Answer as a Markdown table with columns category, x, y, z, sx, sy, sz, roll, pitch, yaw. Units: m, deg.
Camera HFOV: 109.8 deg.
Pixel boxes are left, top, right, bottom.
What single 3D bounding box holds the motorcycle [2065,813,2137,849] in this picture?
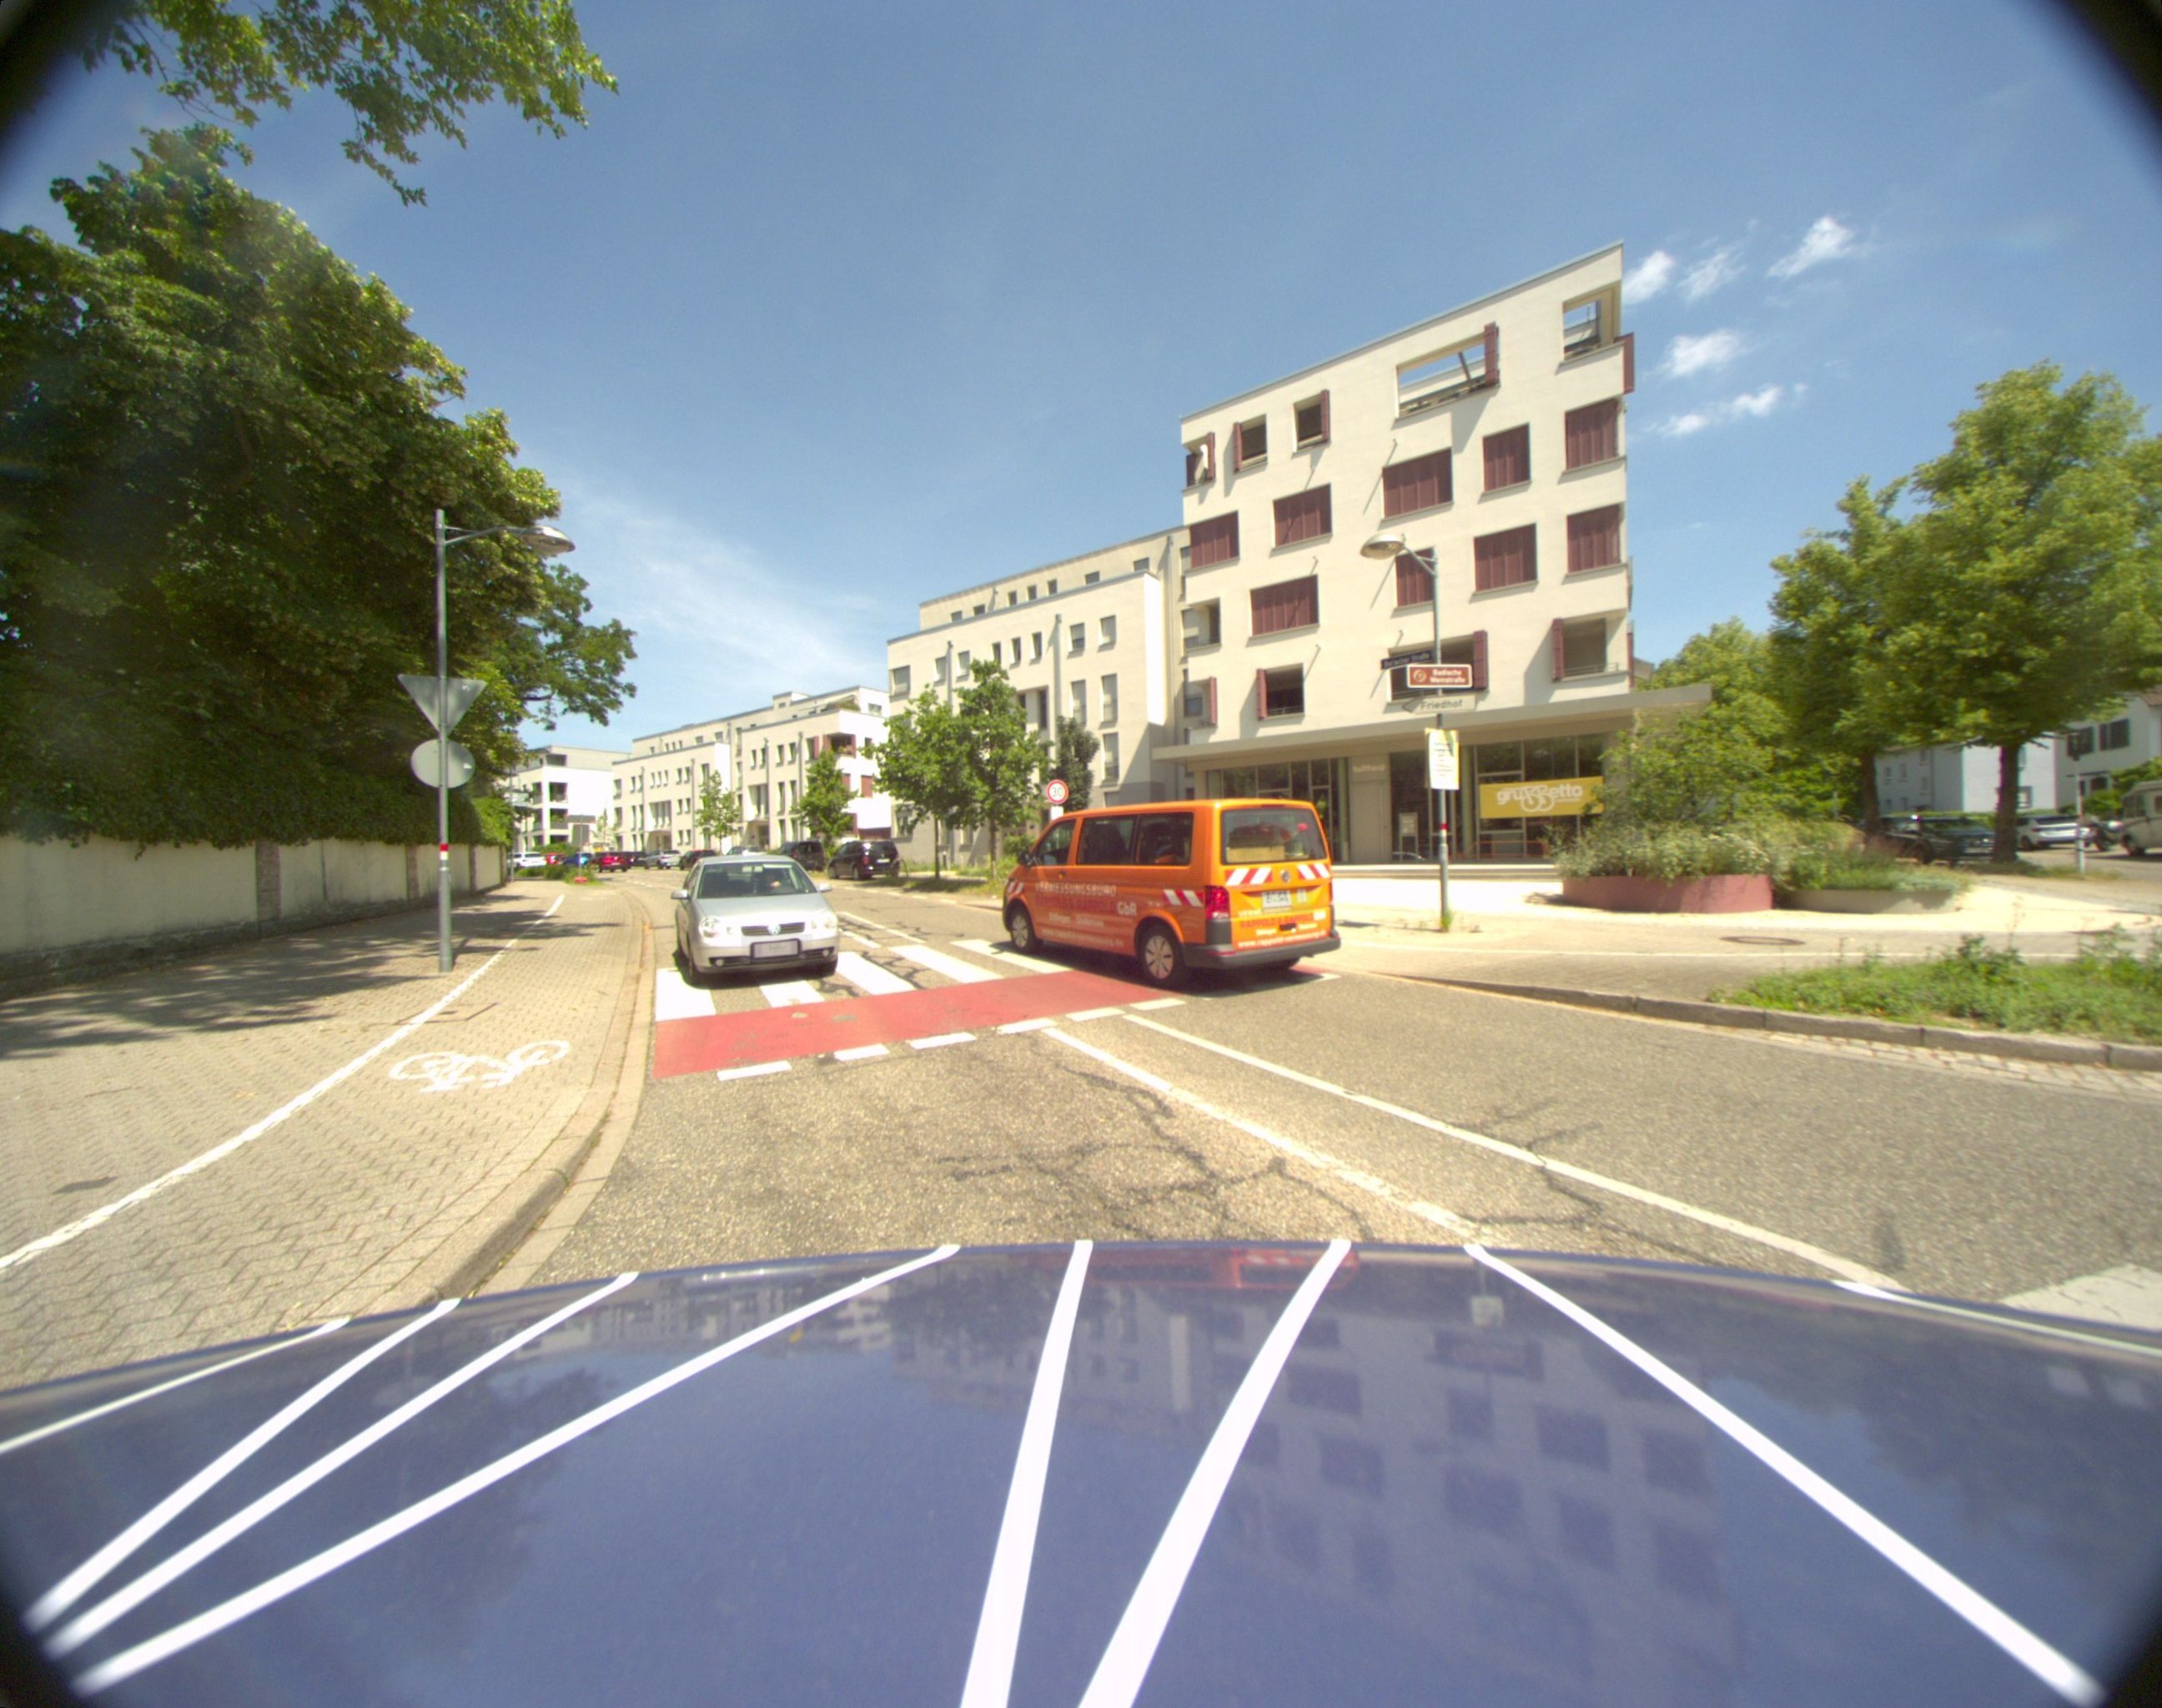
| category | x | y | z | sx | sy | sz | roll | pitch | yaw |
| --- | --- | --- | --- | --- | --- | --- | --- | --- | --- |
| motorcycle | 38.675 | -0.877 | 28.812 | 2.234 | 1.312 | 0.738 | -2 | 2 | -11 |

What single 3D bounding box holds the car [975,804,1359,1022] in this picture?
| category | x | y | z | sx | sy | sz | roll | pitch | yaw |
| --- | --- | --- | --- | --- | --- | --- | --- | --- | --- |
| car | 0.688 | 0.476 | 9.481 | 1.953 | 1.949 | 5.007 | -4 | 3 | -33 |

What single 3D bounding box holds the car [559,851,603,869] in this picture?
| category | x | y | z | sx | sy | sz | roll | pitch | yaw |
| --- | --- | --- | --- | --- | --- | --- | --- | --- | --- |
| car | -43.705 | 0.515 | 66.427 | 3.711 | 1.405 | 1.710 | 0 | 2 | 31 |

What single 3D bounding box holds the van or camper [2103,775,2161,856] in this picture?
| category | x | y | z | sx | sy | sz | roll | pitch | yaw |
| --- | --- | --- | --- | --- | --- | --- | --- | --- | --- |
| van or camper | 35.900 | -1.320 | 23.977 | 2.269 | 2.623 | 5.895 | -4 | 0 | 32 |

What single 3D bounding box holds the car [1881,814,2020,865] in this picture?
| category | x | y | z | sx | sy | sz | roll | pitch | yaw |
| --- | --- | --- | --- | --- | --- | --- | --- | --- | --- |
| car | 27.436 | -0.477 | 24.154 | 1.752 | 1.496 | 3.999 | -1 | 2 | 31 |

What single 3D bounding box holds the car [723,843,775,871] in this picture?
| category | x | y | z | sx | sy | sz | roll | pitch | yaw |
| --- | --- | --- | --- | --- | --- | --- | --- | --- | --- |
| car | -20.099 | 0.155 | 45.923 | 1.794 | 1.581 | 3.617 | -3 | 2 | -42 |

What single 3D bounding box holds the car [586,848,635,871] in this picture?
| category | x | y | z | sx | sy | sz | roll | pitch | yaw |
| --- | --- | --- | --- | --- | --- | --- | --- | --- | --- |
| car | -32.826 | 0.359 | 52.973 | 3.981 | 1.496 | 1.760 | 0 | 2 | 42 |

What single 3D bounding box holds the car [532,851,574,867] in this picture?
| category | x | y | z | sx | sy | sz | roll | pitch | yaw |
| --- | --- | --- | --- | --- | --- | --- | --- | --- | --- |
| car | -48.280 | 0.434 | 69.490 | 3.711 | 1.405 | 1.710 | 0 | 2 | 31 |

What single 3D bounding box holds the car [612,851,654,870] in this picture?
| category | x | y | z | sx | sy | sz | roll | pitch | yaw |
| --- | --- | --- | --- | --- | --- | --- | --- | --- | --- |
| car | -35.684 | 0.463 | 60.531 | 3.710 | 1.405 | 1.710 | 0 | 2 | 41 |

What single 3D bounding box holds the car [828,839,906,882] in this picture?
| category | x | y | z | sx | sy | sz | roll | pitch | yaw |
| --- | --- | --- | --- | --- | --- | --- | --- | --- | --- |
| car | -8.930 | 0.219 | 31.534 | 1.703 | 1.628 | 4.009 | -3 | 2 | -37 |

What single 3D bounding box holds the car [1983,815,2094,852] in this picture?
| category | x | y | z | sx | sy | sz | roll | pitch | yaw |
| --- | --- | --- | --- | --- | --- | --- | --- | --- | --- |
| car | 40.933 | -0.888 | 32.607 | 1.751 | 1.496 | 3.999 | -1 | 2 | 33 |

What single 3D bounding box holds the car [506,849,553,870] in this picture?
| category | x | y | z | sx | sy | sz | roll | pitch | yaw |
| --- | --- | --- | --- | --- | --- | --- | --- | --- | --- |
| car | -45.499 | 0.446 | 62.677 | 4.108 | 1.600 | 1.820 | 0 | 2 | 34 |

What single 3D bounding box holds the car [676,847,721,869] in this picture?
| category | x | y | z | sx | sy | sz | roll | pitch | yaw |
| --- | --- | --- | --- | --- | --- | --- | --- | --- | --- |
| car | -26.144 | 0.269 | 51.910 | 1.710 | 1.405 | 3.617 | -3 | 3 | -44 |

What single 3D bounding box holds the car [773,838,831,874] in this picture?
| category | x | y | z | sx | sy | sz | roll | pitch | yaw |
| --- | --- | --- | --- | --- | --- | --- | --- | --- | --- |
| car | -14.167 | 0.071 | 38.507 | 1.703 | 1.691 | 3.617 | -3 | 2 | -37 |

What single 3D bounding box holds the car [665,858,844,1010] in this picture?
| category | x | y | z | sx | sy | sz | roll | pitch | yaw |
| --- | --- | --- | --- | --- | --- | --- | --- | --- | --- |
| car | -4.429 | 0.844 | 9.965 | 1.611 | 1.444 | 3.990 | -2 | 2 | -31 |

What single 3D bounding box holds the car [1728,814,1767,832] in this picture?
| category | x | y | z | sx | sy | sz | roll | pitch | yaw |
| --- | --- | --- | --- | --- | --- | --- | --- | --- | --- |
| car | 62.934 | -2.939 | 71.837 | 1.994 | 1.657 | 4.006 | 0 | 3 | 30 |

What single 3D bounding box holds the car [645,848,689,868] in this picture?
| category | x | y | z | sx | sy | sz | roll | pitch | yaw |
| --- | --- | --- | --- | --- | --- | --- | --- | --- | --- |
| car | -30.585 | 0.251 | 56.145 | 3.710 | 1.405 | 1.710 | 0 | 2 | 43 |
